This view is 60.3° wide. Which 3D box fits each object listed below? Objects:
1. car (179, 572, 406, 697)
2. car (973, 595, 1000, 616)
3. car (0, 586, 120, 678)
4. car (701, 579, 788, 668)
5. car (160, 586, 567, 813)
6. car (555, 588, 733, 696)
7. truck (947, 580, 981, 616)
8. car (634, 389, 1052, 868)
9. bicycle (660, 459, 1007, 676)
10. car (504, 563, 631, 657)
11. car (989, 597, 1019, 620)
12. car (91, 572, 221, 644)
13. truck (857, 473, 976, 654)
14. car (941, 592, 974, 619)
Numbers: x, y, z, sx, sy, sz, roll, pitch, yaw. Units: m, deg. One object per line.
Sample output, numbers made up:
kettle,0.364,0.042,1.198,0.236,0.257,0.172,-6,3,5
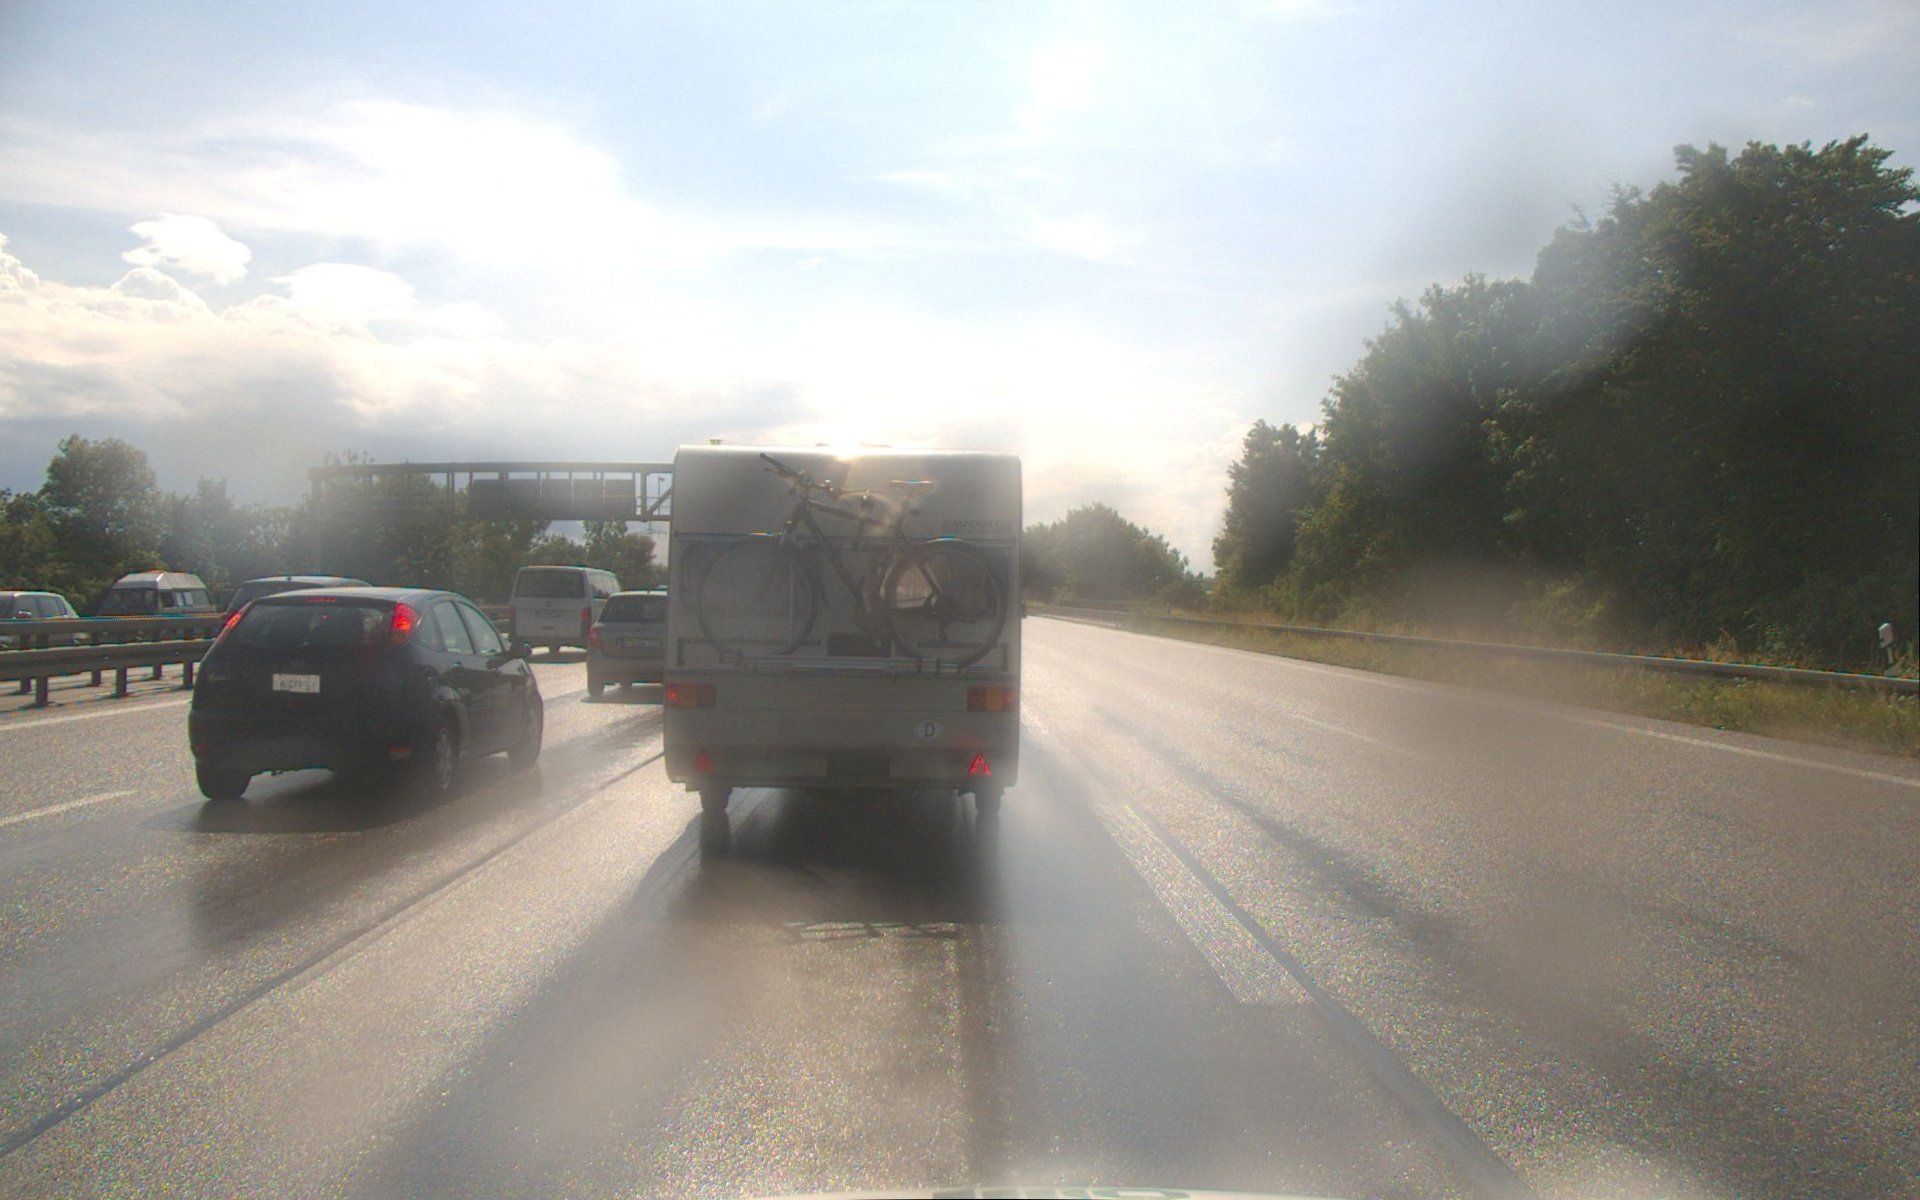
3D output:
car,-9.308,0.439,23.402,1.747,1.606,3.914,1,0,-3
car,2.165,0.438,135.779,1.839,1.657,3.997,1,0,-4
car,-16.104,0.510,28.133,1.633,1.467,3.999,0,0,-1
car,-5.249,0.543,40.665,1.839,2.049,3.997,1,0,-4
car,-4.384,0.643,12.844,1.723,1.468,4.000,1,0,-1
car,-4.631,0.571,24.756,1.947,1.483,3.826,1,0,-1
truck,0.273,-0.156,120.252,2.366,2.486,6.052,1,0,-1
car,-0.689,0.169,11.533,2.361,2.721,3.999,1,0,-1
bicycle,-0.697,-0.179,9.321,1.894,1.161,0.384,1,0,0
car,-8.794,0.196,37.458,1.810,1.967,5.014,1,0,-2
car,3.121,0.600,117.409,1.839,1.521,3.998,1,0,-3
car,-24.144,0.227,49.839,1.954,2.049,4.360,1,0,-3
truck,-1.342,-0.971,48.580,3.083,4.707,10.731,1,0,-2
car,-0.150,0.352,102.571,1.799,1.585,3.997,1,0,-4
